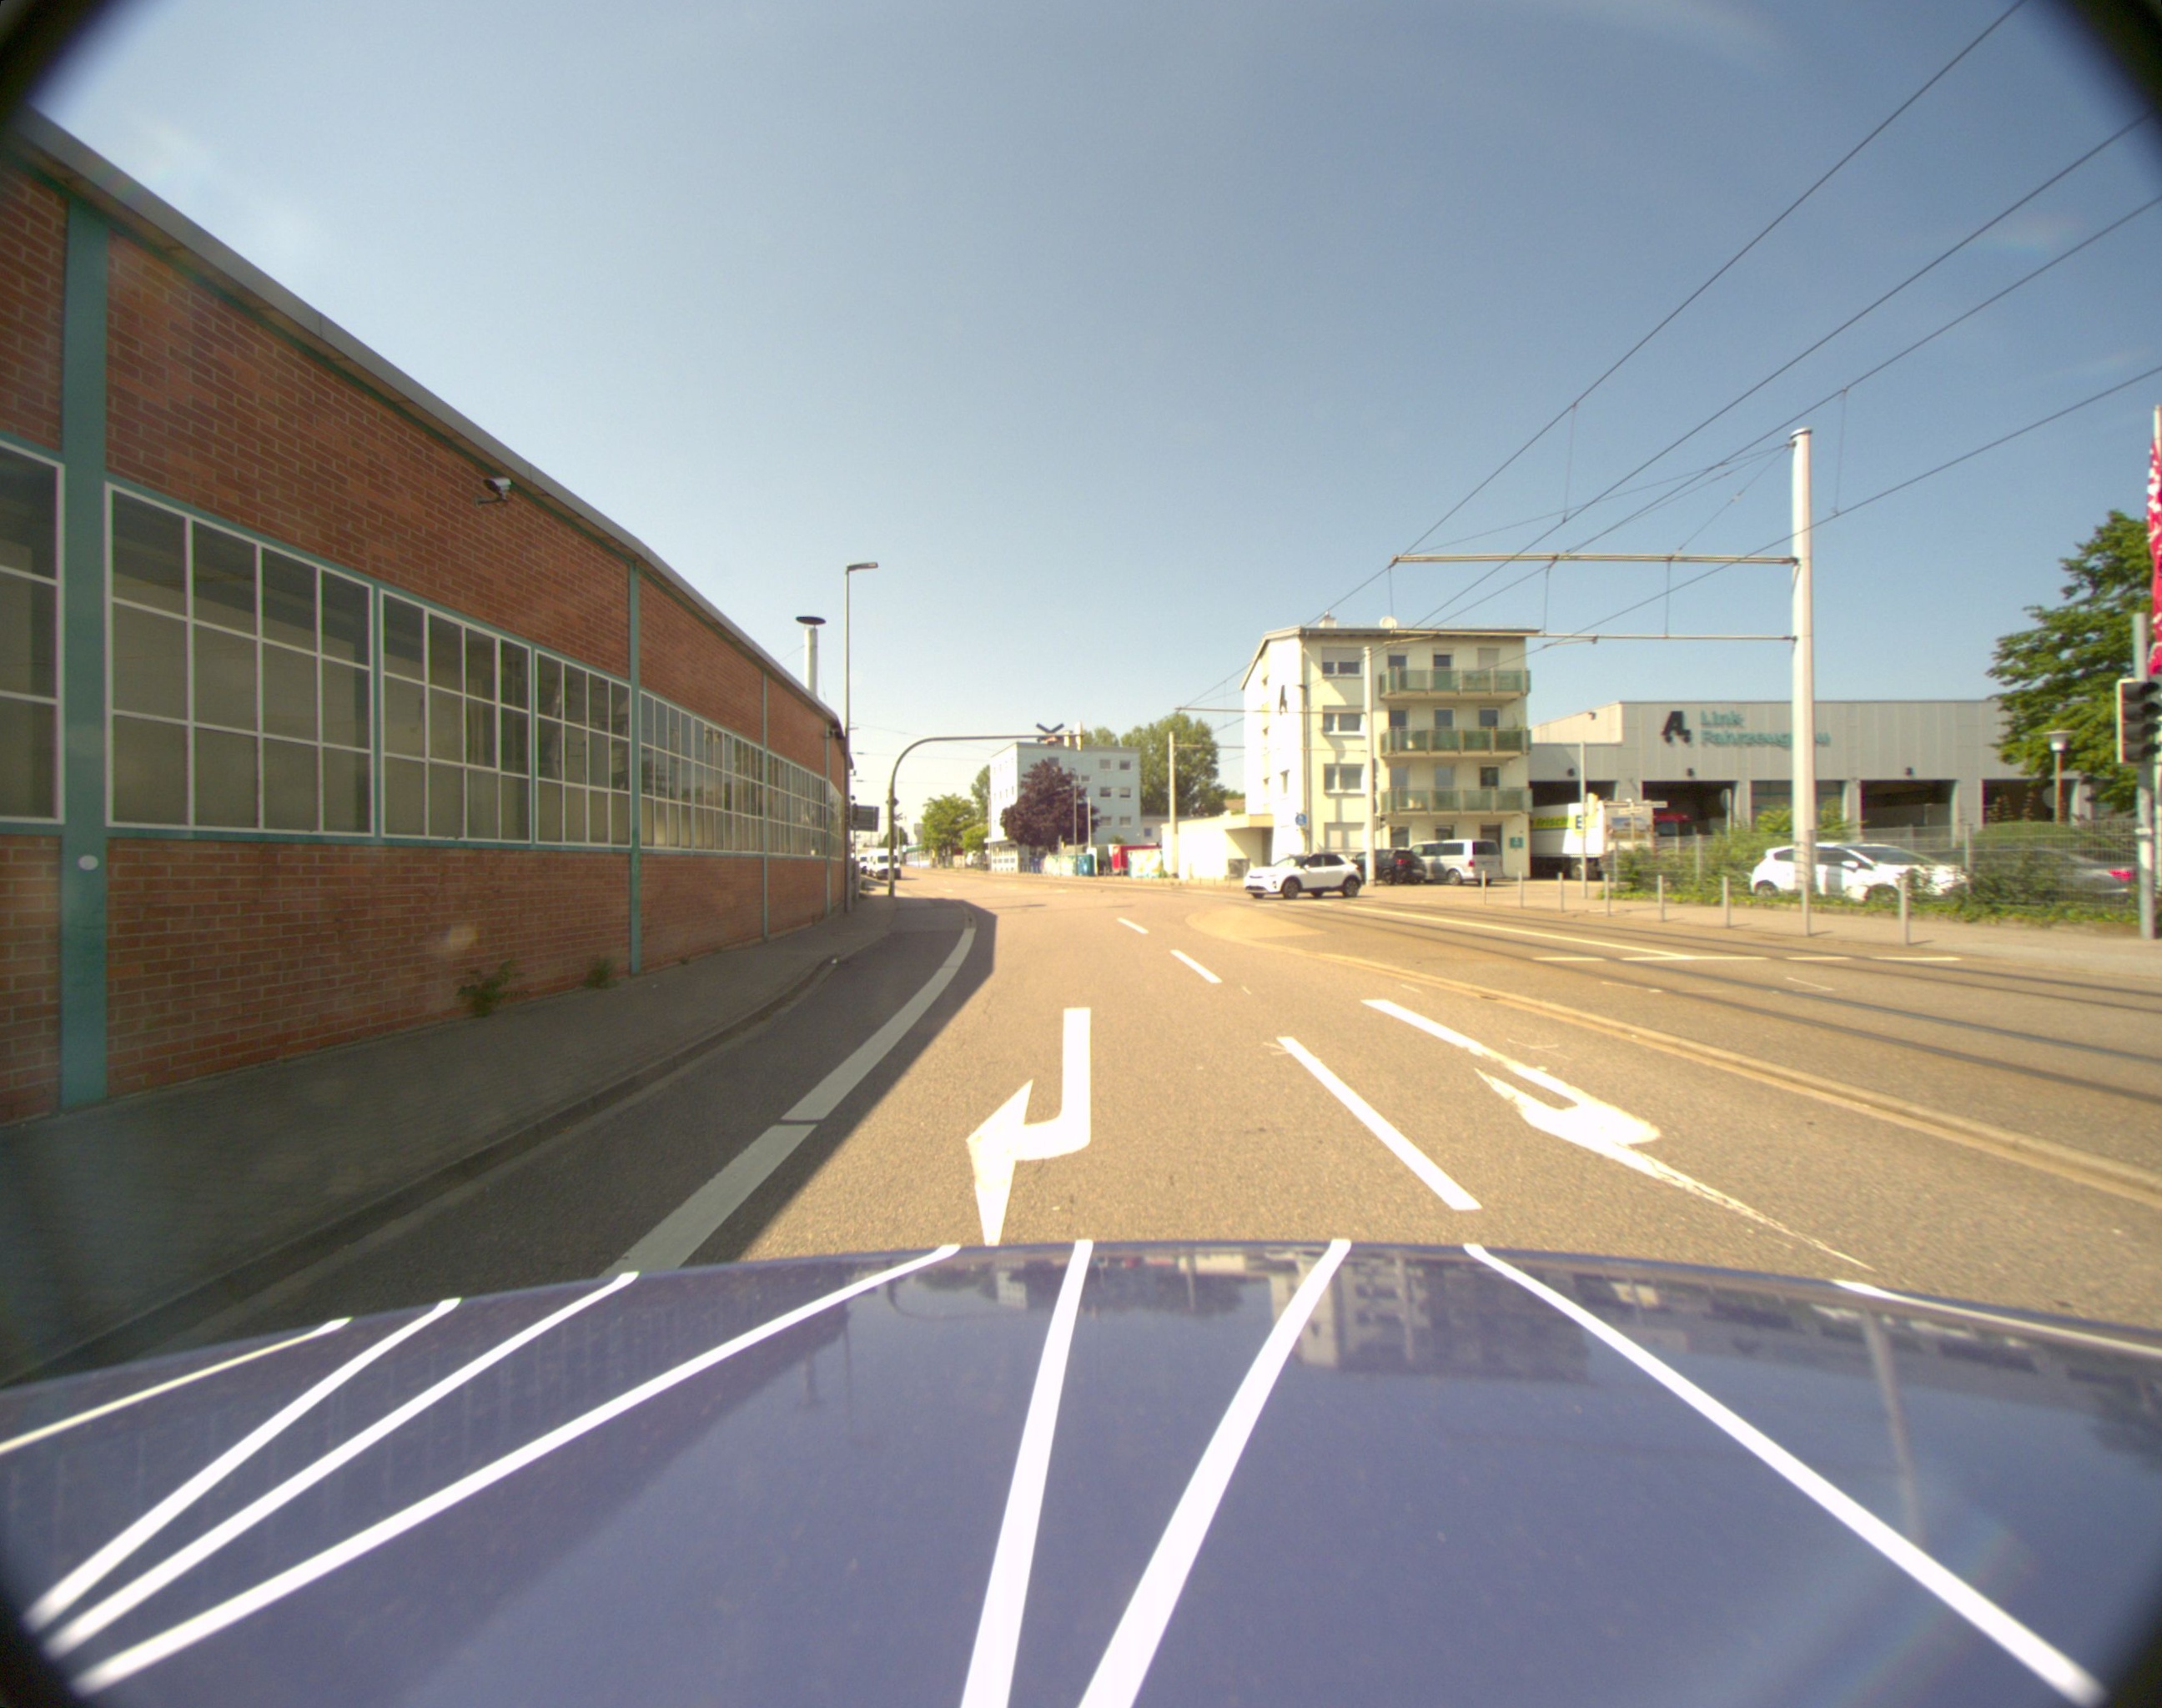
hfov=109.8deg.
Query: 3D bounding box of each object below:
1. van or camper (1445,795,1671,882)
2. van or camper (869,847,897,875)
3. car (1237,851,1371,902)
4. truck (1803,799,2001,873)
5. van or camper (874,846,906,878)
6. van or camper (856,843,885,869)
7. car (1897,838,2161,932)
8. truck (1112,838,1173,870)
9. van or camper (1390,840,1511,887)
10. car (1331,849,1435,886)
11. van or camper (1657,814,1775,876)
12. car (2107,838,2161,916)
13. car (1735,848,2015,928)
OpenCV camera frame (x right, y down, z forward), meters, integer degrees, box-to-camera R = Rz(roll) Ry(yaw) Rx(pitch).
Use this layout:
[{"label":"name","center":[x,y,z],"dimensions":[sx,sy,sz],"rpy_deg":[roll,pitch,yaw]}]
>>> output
[{"label":"van or camper","center":[23.769,-0.496,39.170],"dimensions":[2.781,3.669,11.633],"rpy_deg":[-1,-2,-9]},{"label":"van or camper","center":[-18.737,0.649,71.663],"dimensions":[2.046,2.519,5.572],"rpy_deg":[-1,0,-20]},{"label":"car","center":[7.384,0.694,25.147],"dimensions":[4.114,1.521,1.734],"rpy_deg":[-1,0,-25]},{"label":"truck","center":[45.753,-0.921,42.813],"dimensions":[2.623,3.759,7.860],"rpy_deg":[0,0,-1]},{"label":"van or camper","center":[-16.224,0.659,64.377],"dimensions":[2.046,2.519,5.859],"rpy_deg":[-1,0,-20]},{"label":"van or camper","center":[-23.731,0.226,85.593],"dimensions":[2.527,2.770,7.104],"rpy_deg":[-1,0,-21]},{"label":"car","center":[18.873,0.591,14.964],"dimensions":[1.767,1.611,3.840],"rpy_deg":[-1,-2,8]},{"label":"truck","center":[5.282,0.010,65.652],"dimensions":[4.836,2.611,2.186],"rpy_deg":[-1,0,-14]},{"label":"van or camper","center":[15.908,0.370,33.017],"dimensions":[2.002,1.897,4.547],"rpy_deg":[0,0,-22]},{"label":"car","center":[13.022,0.556,32.974],"dimensions":[1.883,1.512,3.965],"rpy_deg":[-1,0,-26]},{"label":"van or camper","center":[34.576,-0.434,41.602],"dimensions":[1.999,3.186,5.058],"rpy_deg":[-1,-1,-3]},{"label":"car","center":[23.325,0.468,14.797],"dimensions":[1.854,1.612,3.839],"rpy_deg":[-1,0,10]},{"label":"car","center":[16.186,0.600,15.838],"dimensions":[1.712,1.425,3.954],"rpy_deg":[-2,1,0]}]
